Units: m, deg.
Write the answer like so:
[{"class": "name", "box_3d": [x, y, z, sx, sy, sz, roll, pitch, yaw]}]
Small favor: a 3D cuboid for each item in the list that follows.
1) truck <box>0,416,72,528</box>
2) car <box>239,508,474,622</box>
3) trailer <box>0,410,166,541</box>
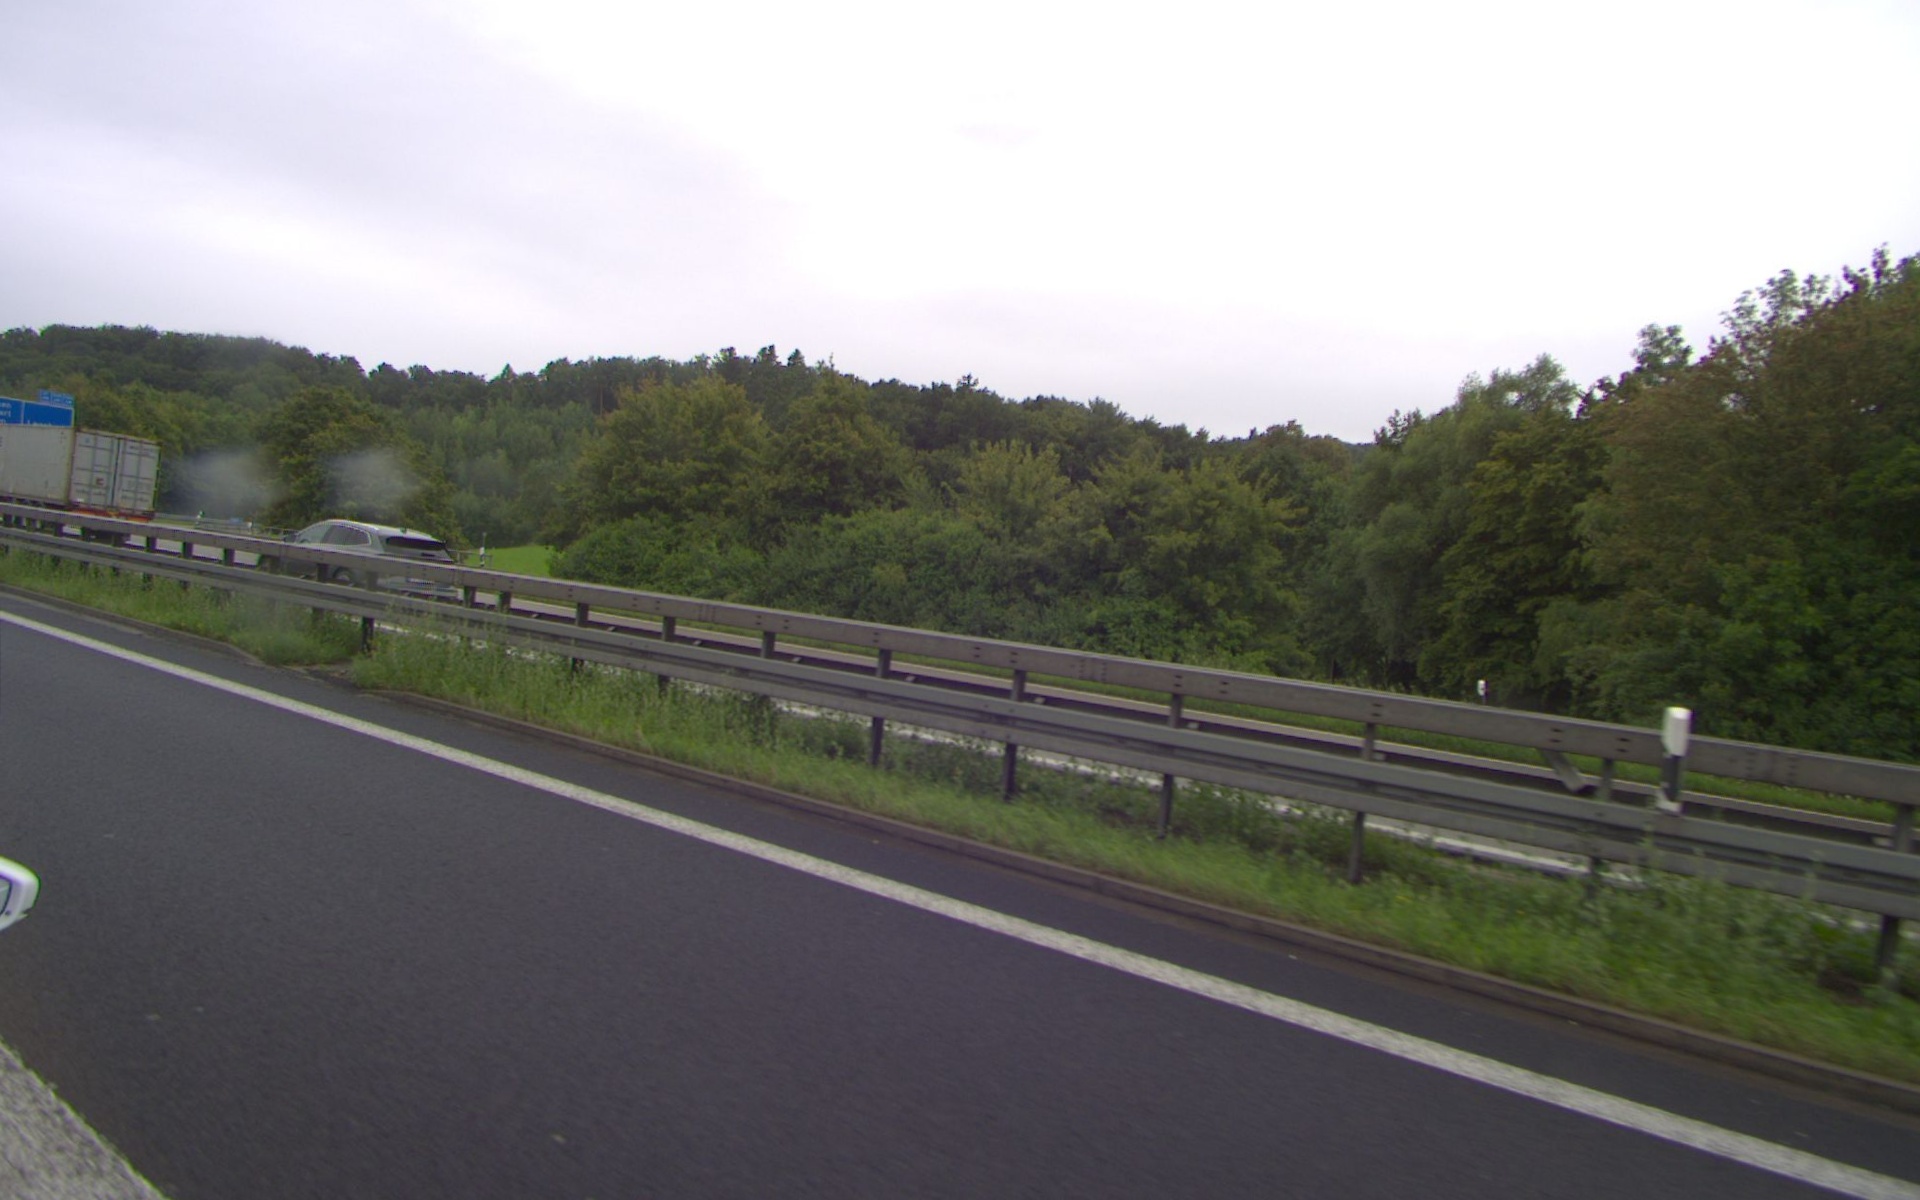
[{"class": "truck", "box_3d": [-38.669, -5.221, 40.395, 6.287, 3.931, 2.619, 6, 0, 33]}, {"class": "car", "box_3d": [-11.532, -0.696, 19.152, 4.565, 1.629, 1.773, 6, -1, 31]}, {"class": "trailer", "box_3d": [-33.516, -4.667, 37.031, 12.287, 3.941, 2.607, 6, 0, 33]}]
